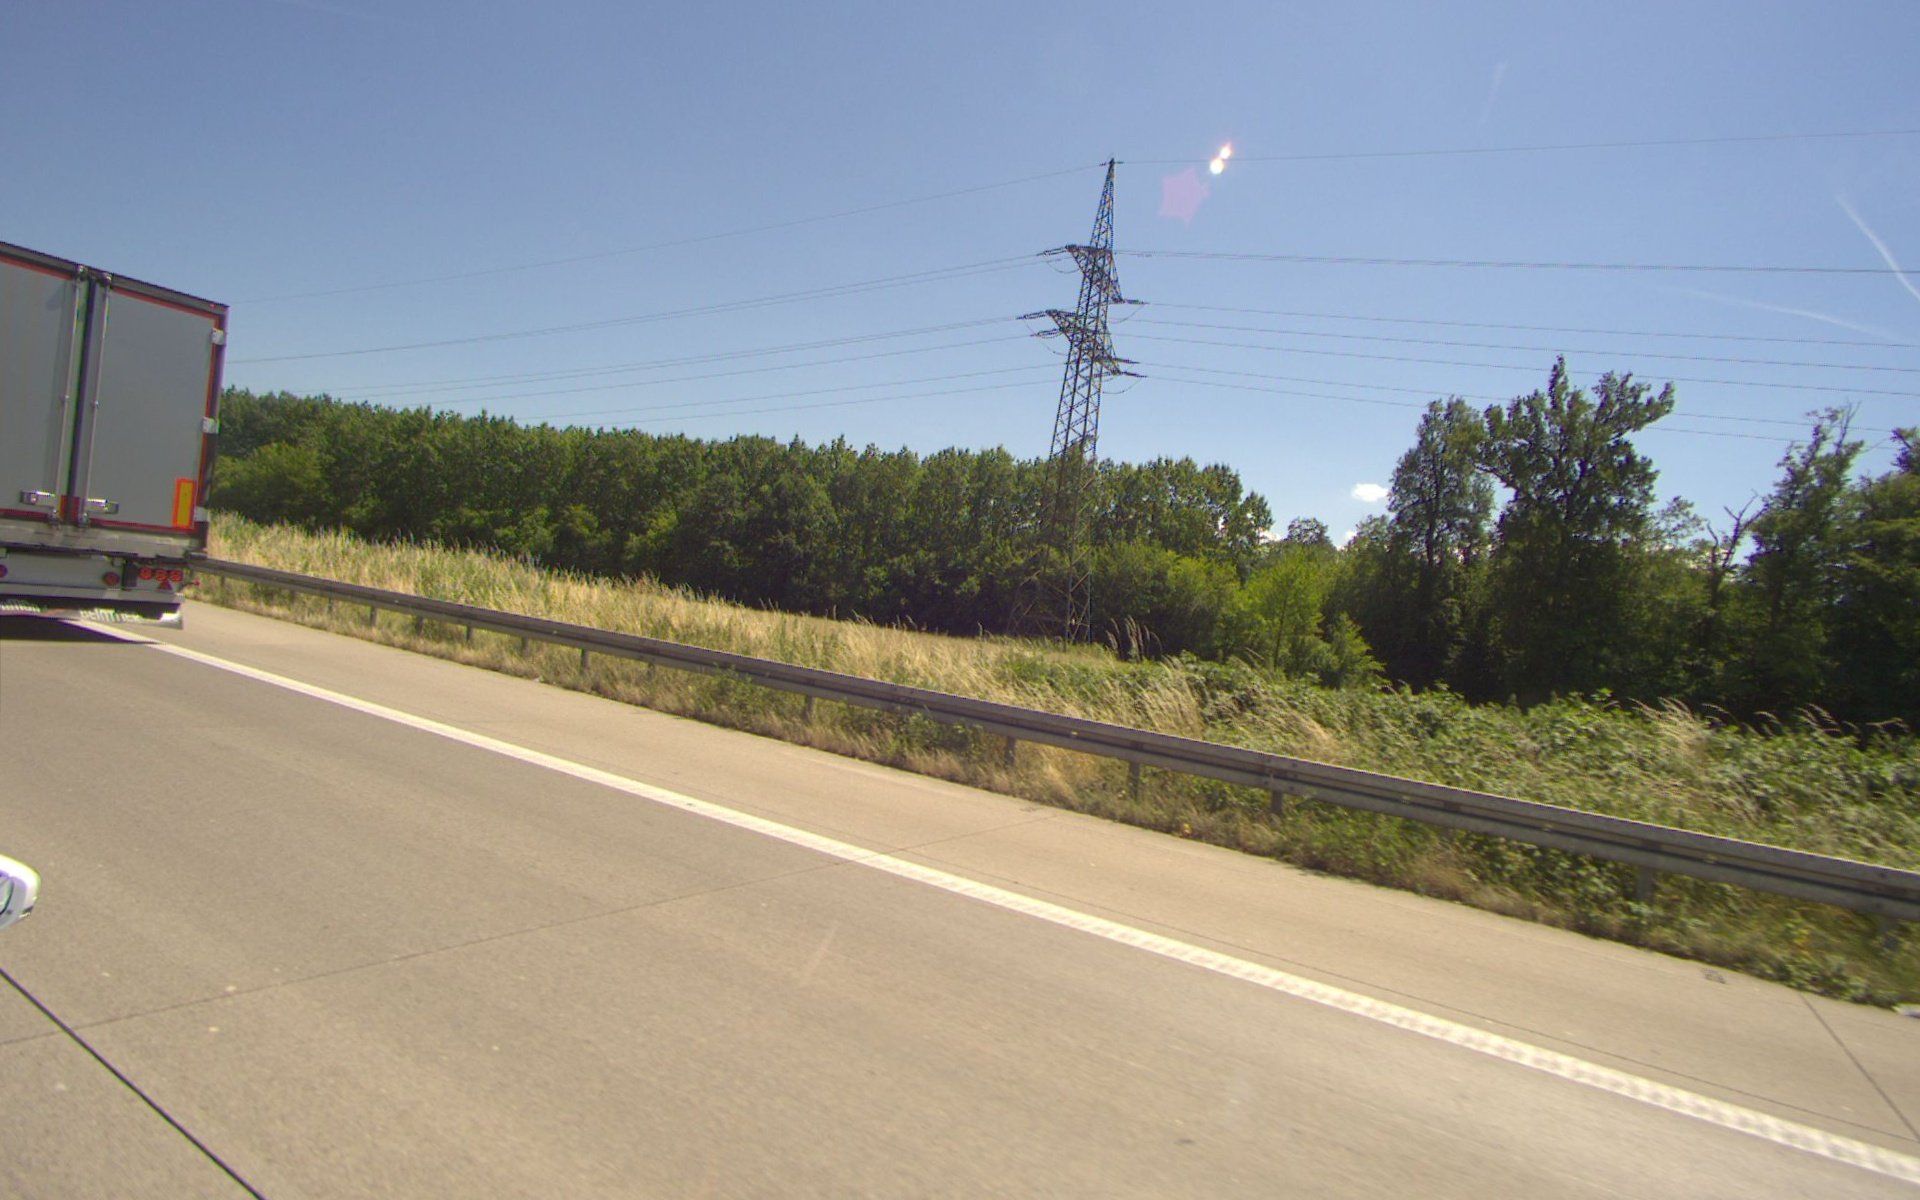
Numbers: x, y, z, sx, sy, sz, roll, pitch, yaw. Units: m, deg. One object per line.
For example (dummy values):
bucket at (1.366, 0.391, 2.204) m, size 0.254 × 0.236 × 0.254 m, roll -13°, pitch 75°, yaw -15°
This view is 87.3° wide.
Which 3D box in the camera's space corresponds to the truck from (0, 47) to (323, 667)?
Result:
truck at (-16.666, -3.310, 15.278) m, size 17.940 × 5.854 × 3.585 m, roll 8°, pitch -1°, yaw 31°
